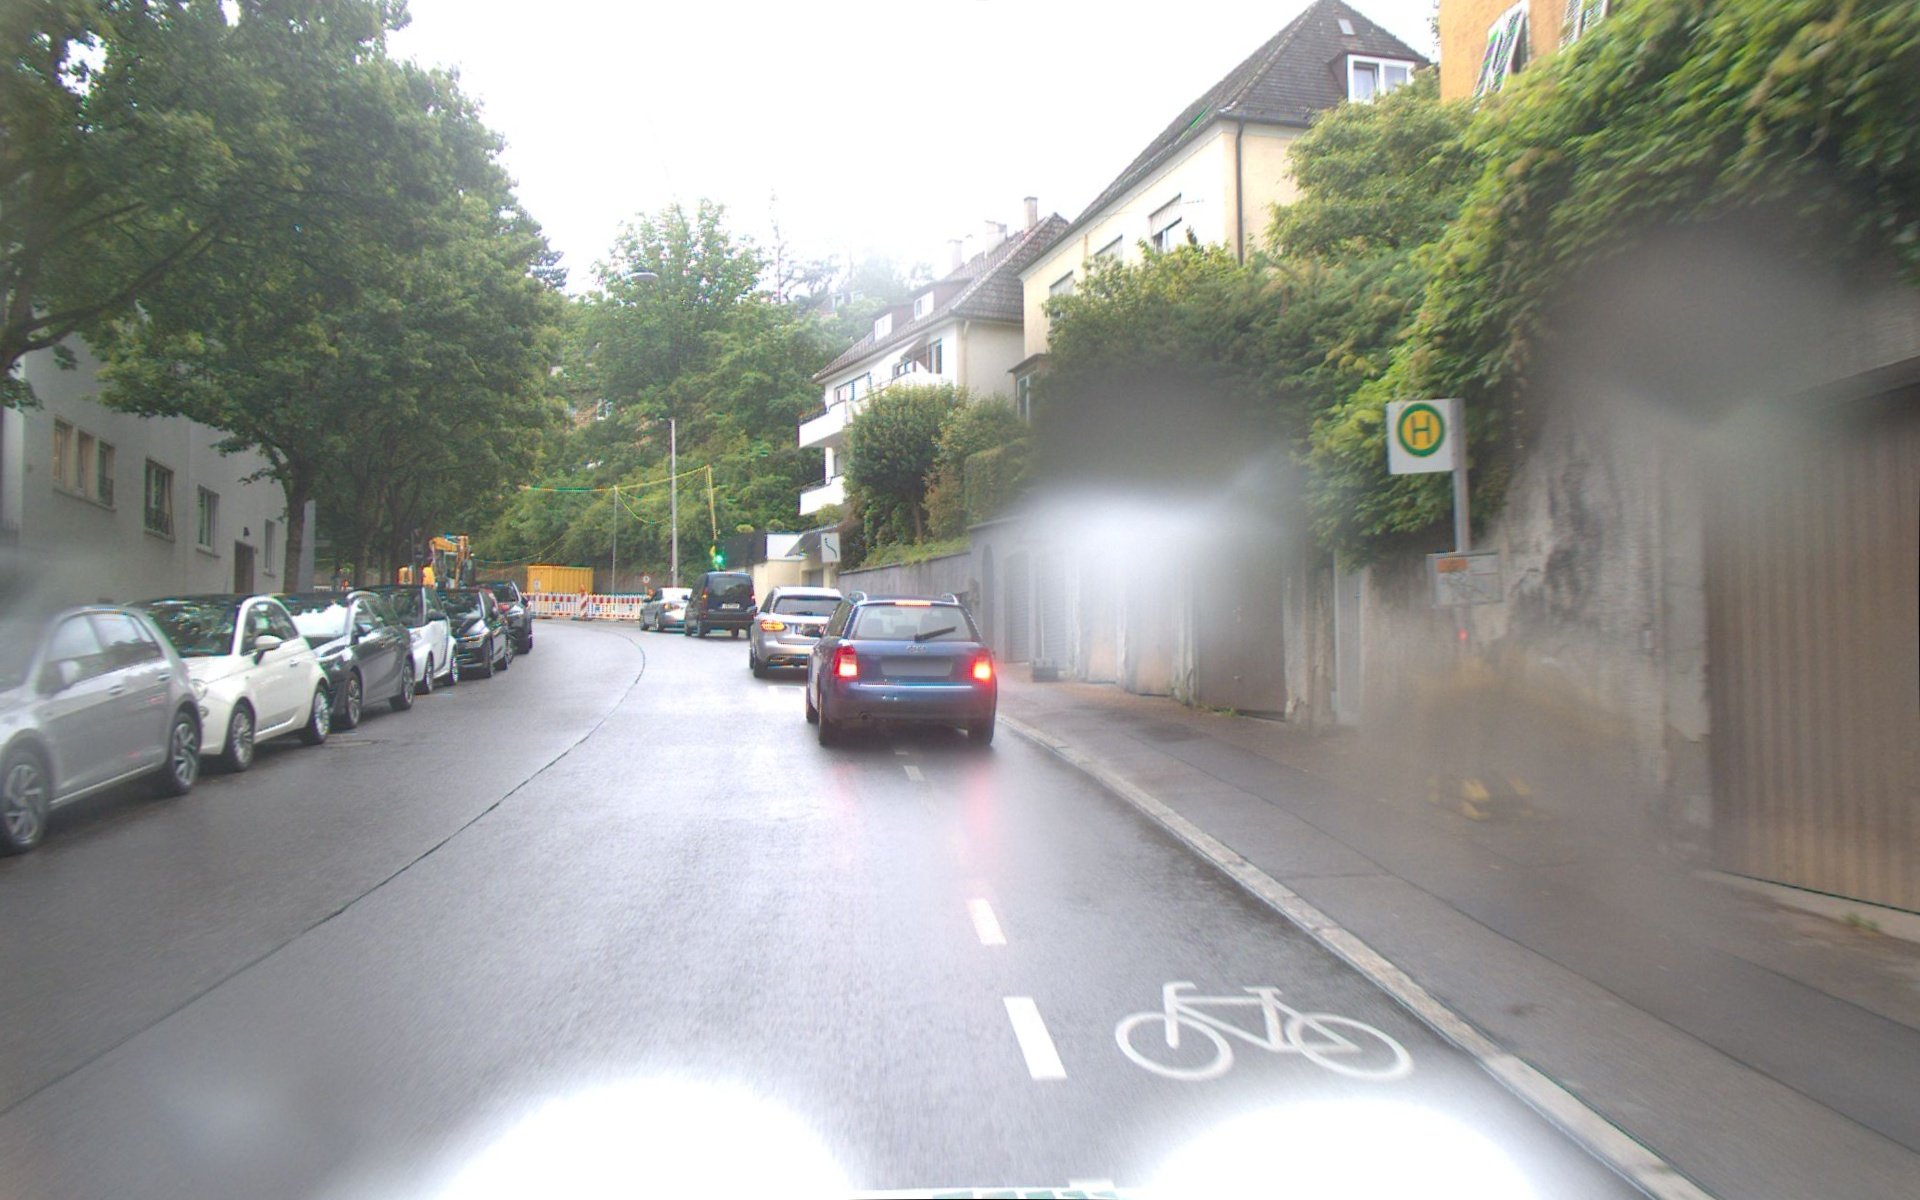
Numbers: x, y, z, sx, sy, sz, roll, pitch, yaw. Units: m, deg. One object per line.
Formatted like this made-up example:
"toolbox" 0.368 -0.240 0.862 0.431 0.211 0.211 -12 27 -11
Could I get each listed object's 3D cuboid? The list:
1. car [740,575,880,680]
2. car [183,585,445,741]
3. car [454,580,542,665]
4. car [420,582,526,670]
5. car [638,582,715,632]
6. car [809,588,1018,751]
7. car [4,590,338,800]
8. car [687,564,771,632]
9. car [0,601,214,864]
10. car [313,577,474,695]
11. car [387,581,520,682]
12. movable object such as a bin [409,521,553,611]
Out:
"car" -2.640 0.399 28.215 1.892 1.646 4.308 0 1 -12
"car" -7.446 0.658 19.521 1.632 1.514 4.470 -4 0 -6
"car" -10.671 0.459 38.416 1.654 1.635 4.560 -7 2 -14
"car" -9.701 0.498 33.189 1.603 1.592 3.838 -2 0 -11
"car" -9.247 0.200 53.740 1.696 1.512 4.050 -2 1 -21
"car" -0.592 0.613 17.039 1.752 1.467 3.957 0 0 -8
"car" -6.903 0.736 14.856 1.544 1.514 3.465 -4 1 -6
"car" -6.725 -0.082 47.781 1.960 1.825 3.985 -1 1 -14
"car" -6.426 0.811 10.766 1.587 1.495 3.967 -4 0 -6
"car" -8.362 0.507 24.677 1.526 1.537 3.378 -4 0 -7
"car" -8.654 0.513 28.541 1.527 1.514 4.089 -4 0 -9
"movable object such as a bin" -22.716 -1.614 78.304 7.183 4.084 2.817 1 1 37
